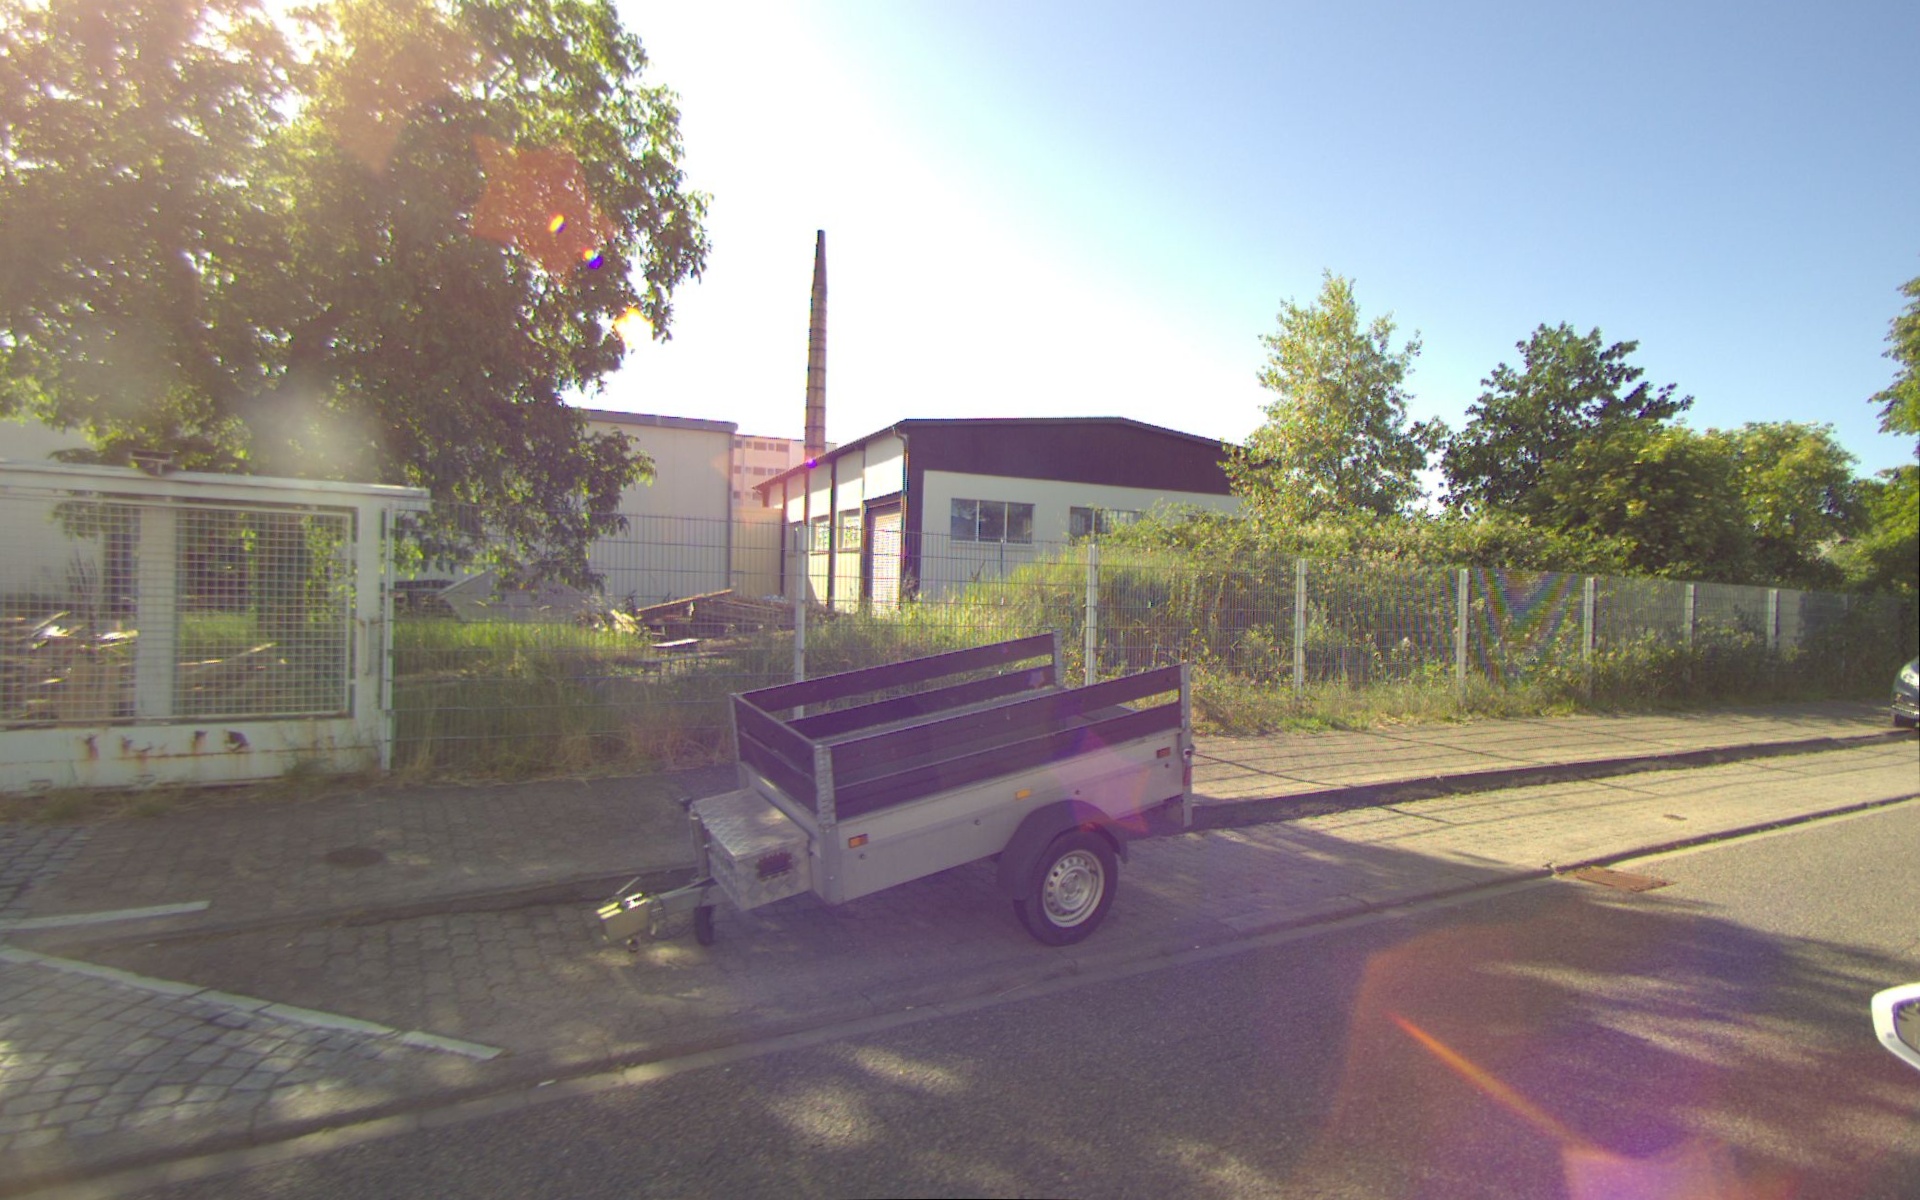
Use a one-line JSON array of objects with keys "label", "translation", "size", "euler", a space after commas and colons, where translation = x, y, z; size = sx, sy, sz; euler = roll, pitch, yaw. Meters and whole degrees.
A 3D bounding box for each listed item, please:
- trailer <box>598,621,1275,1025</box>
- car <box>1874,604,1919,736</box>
[{"label": "trailer", "translation": [-0.082, 0.863, 5.042], "size": [3.042, 1.372, 1.469], "euler": [2, 2, -30]}, {"label": "car", "translation": [15.224, 1.045, 14.495], "size": [4.751, 1.754, 1.781], "euler": [1, 4, -34]}]
